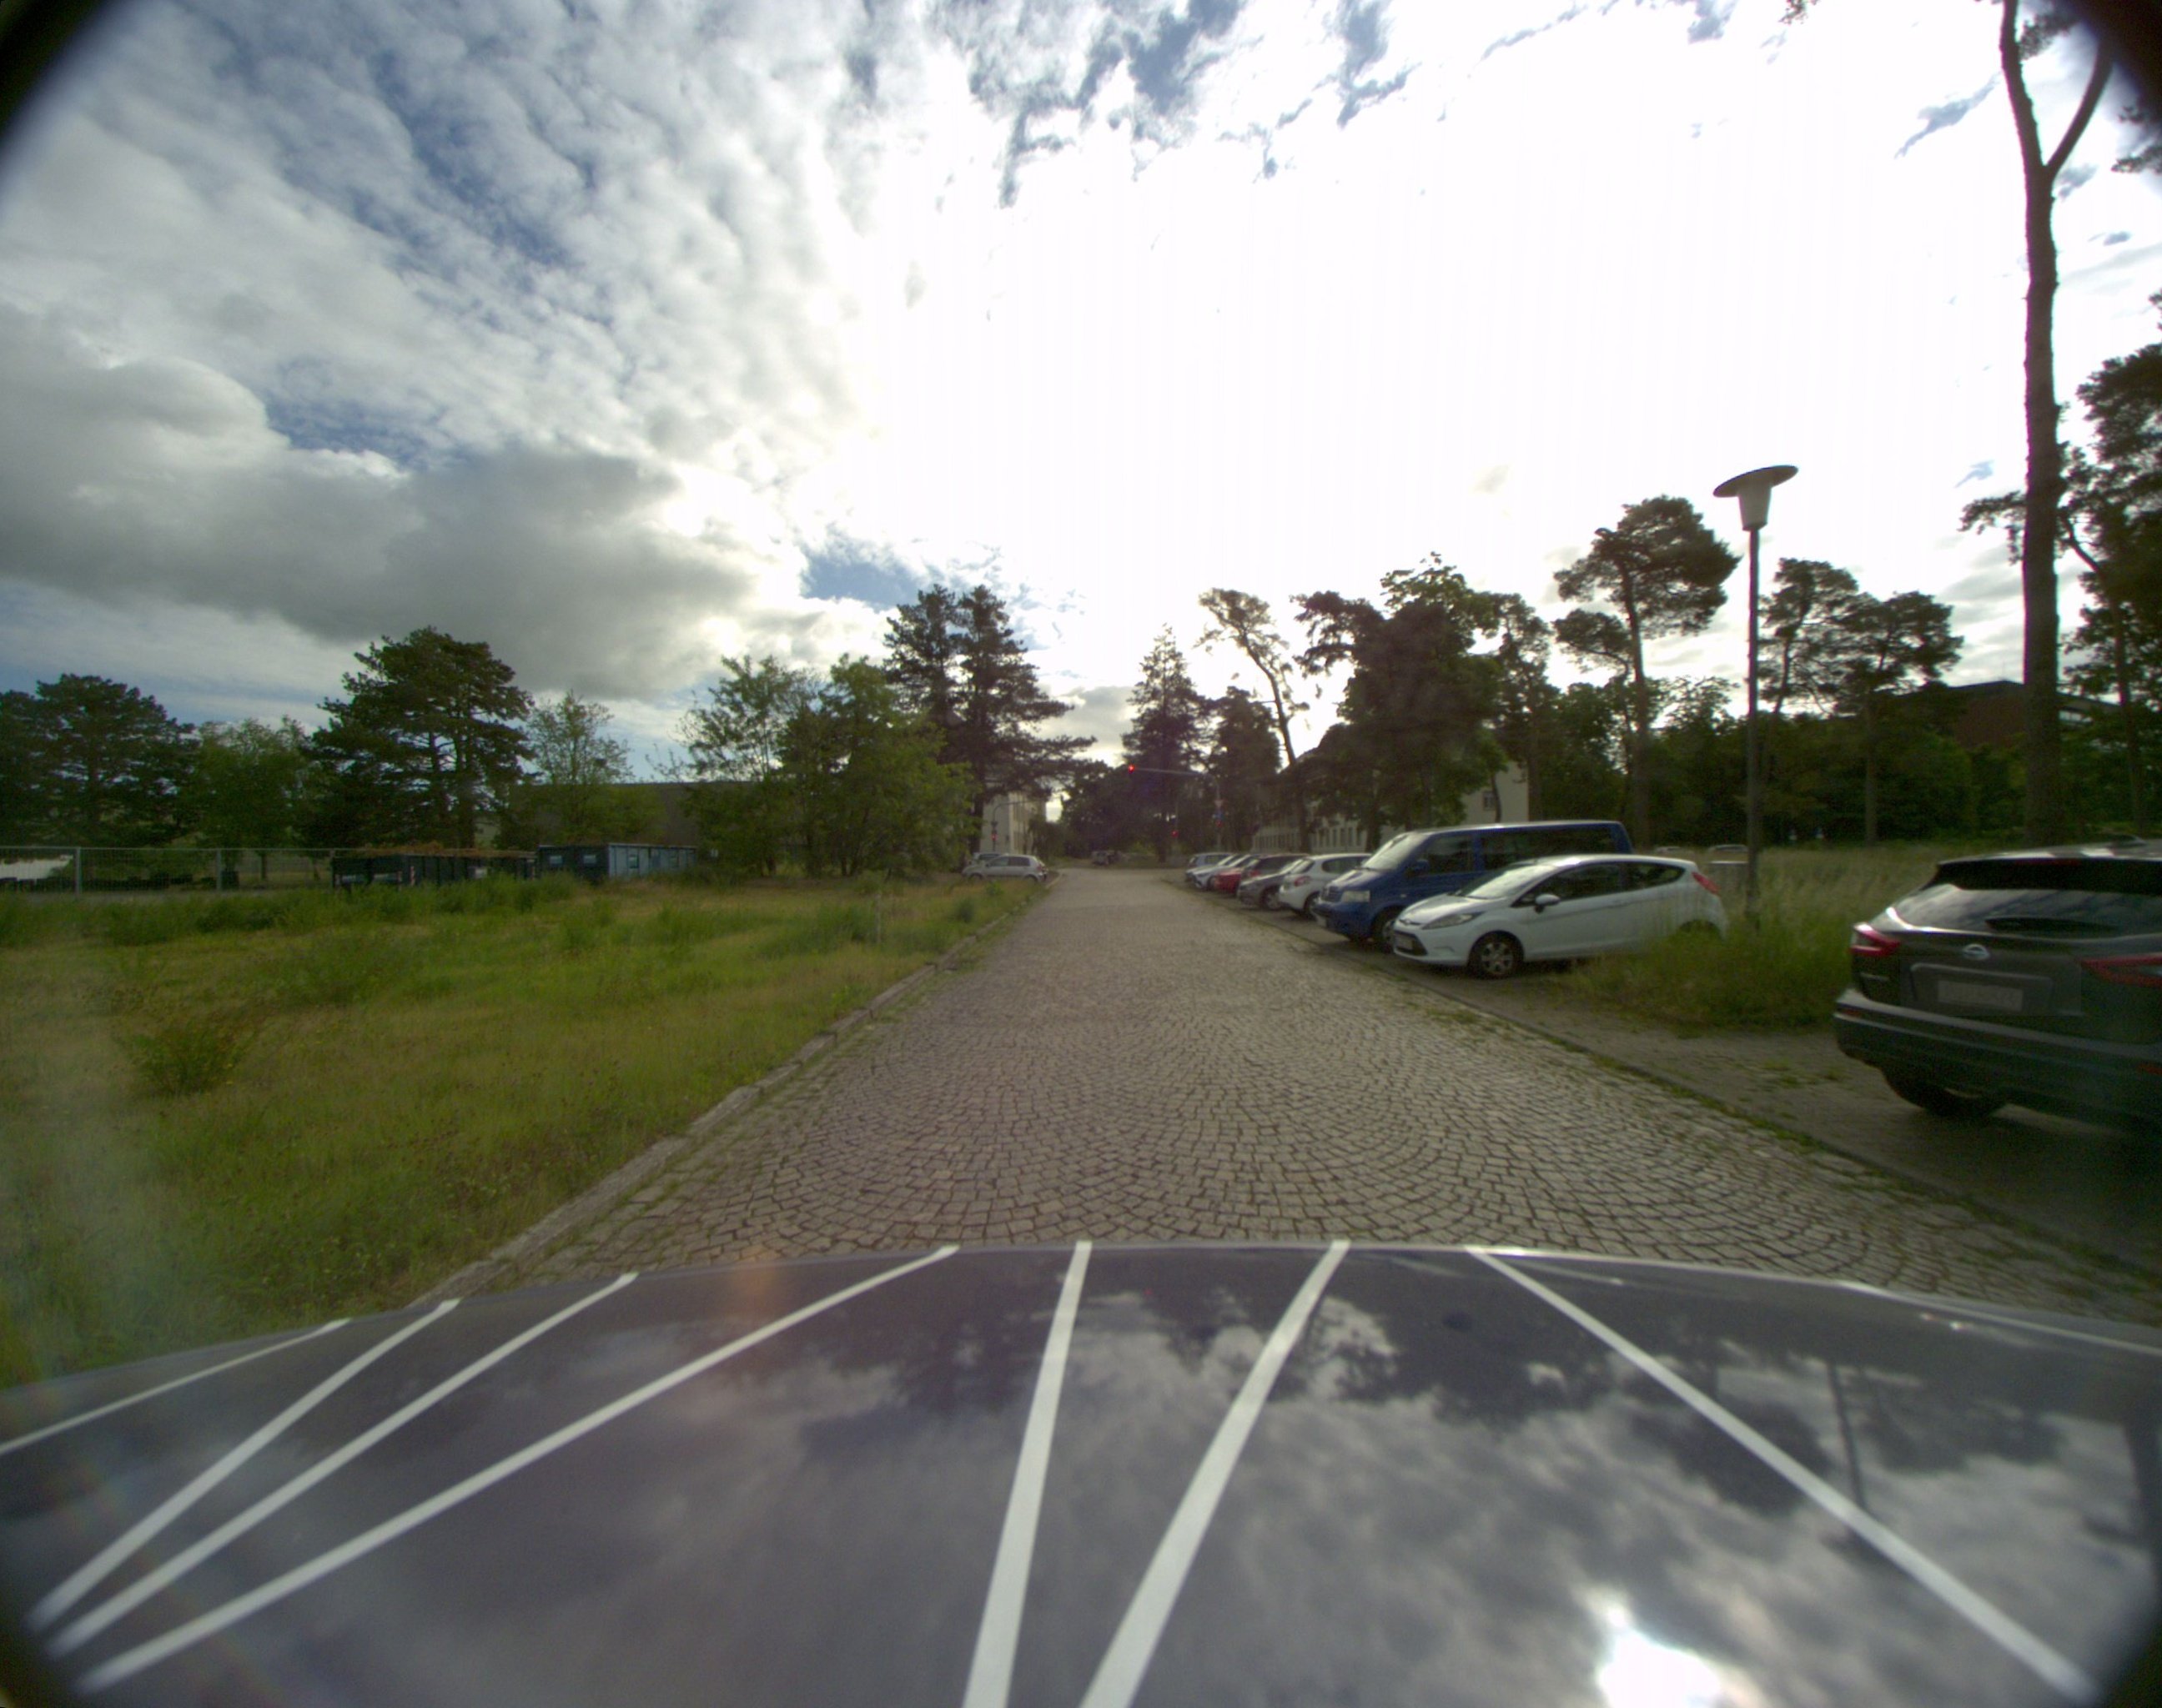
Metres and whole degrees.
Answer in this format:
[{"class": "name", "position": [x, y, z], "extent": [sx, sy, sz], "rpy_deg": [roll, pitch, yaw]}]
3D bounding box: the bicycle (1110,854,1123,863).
[{"class": "bicycle", "position": [4.285, 0.523, 91.789], "extent": [1.456, 1.033, 0.497], "rpy_deg": [-4, 1, -4]}]

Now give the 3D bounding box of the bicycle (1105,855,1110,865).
[{"class": "bicycle", "position": [2.922, 0.614, 83.706], "extent": [0.497, 1.033, 1.416], "rpy_deg": [-4, 1, 0]}]

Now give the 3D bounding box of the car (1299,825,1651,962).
[{"class": "car", "position": [6.247, 0.598, 12.515], "extent": [4.721, 1.969, 2.038], "rpy_deg": [-1, 0, 0]}]

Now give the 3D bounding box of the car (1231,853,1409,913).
[{"class": "car", "position": [6.398, 0.752, 20.682], "extent": [4.314, 1.472, 1.731], "rpy_deg": [-1, 0, 3]}]

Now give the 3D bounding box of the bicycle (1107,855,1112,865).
[{"class": "bicycle", "position": [3.082, 0.624, 82.099], "extent": [0.497, 1.068, 1.416], "rpy_deg": [-4, 1, 0]}]

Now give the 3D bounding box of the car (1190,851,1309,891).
[{"class": "car", "position": [6.779, 0.676, 30.932], "extent": [4.447, 1.447, 1.949], "rpy_deg": [-1, 1, 2]}]

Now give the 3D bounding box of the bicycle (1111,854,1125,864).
[{"class": "bicycle", "position": [4.134, 0.550, 85.078], "extent": [1.457, 1.033, 0.497], "rpy_deg": [-4, 1, -6]}]

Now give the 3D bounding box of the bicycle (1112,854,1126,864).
[{"class": "bicycle", "position": [4.356, 0.554, 86.905], "extent": [1.456, 1.033, 0.497], "rpy_deg": [-4, 1, -4]}]

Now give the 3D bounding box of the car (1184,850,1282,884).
[{"class": "car", "position": [7.194, 0.622, 36.237], "extent": [4.339, 1.462, 1.827], "rpy_deg": [-1, 1, 2]}]

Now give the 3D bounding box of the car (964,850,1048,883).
[{"class": "car", "position": [-4.003, 0.659, 40.981], "extent": [4.342, 1.565, 1.826], "rpy_deg": [2, 1, -4]}]

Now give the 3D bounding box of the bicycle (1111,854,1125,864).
[{"class": "bicycle", "position": [4.210, 0.558, 85.872], "extent": [1.456, 1.033, 0.497], "rpy_deg": [-4, 1, -4]}]

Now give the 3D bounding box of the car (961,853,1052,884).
[{"class": "car", "position": [-3.686, 0.729, 38.289], "extent": [4.377, 1.397, 1.796], "rpy_deg": [2, 0, 0]}]

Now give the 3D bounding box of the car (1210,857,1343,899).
[{"class": "car", "position": [6.670, 0.804, 26.244], "extent": [4.141, 1.276, 1.764], "rpy_deg": [-1, 0, 1]}]

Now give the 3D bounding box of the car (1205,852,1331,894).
[{"class": "car", "position": [6.971, 0.690, 28.619], "extent": [4.264, 1.447, 1.855], "rpy_deg": [-1, 0, 1]}]

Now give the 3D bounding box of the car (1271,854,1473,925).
[{"class": "car", "position": [6.687, 0.793, 17.811], "extent": [4.014, 1.493, 1.843], "rpy_deg": [-1, 0, 3]}]

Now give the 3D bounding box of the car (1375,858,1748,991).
[{"class": "car", "position": [6.094, 0.848, 9.957], "extent": [3.803, 1.484, 1.726], "rpy_deg": [-1, 0, -1]}]

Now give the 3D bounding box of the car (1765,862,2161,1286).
[{"class": "car", "position": [6.203, 0.841, 3.646], "extent": [4.078, 1.566, 1.954], "rpy_deg": [-1, 0, 0]}]

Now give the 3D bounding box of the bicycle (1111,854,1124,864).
[{"class": "bicycle", "position": [4.255, 0.548, 88.651], "extent": [1.456, 1.033, 0.497], "rpy_deg": [-4, 1, -4]}]

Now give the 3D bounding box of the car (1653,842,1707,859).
[{"class": "car", "position": [60.943, -0.407, 77.390], "extent": [4.053, 1.601, 1.717], "rpy_deg": [-1, 2, 5]}]

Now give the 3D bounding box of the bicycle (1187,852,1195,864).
[{"class": "bicycle", "position": [10.495, 0.345, 72.654], "extent": [0.497, 1.068, 1.416], "rpy_deg": [-4, 1, -2]}]

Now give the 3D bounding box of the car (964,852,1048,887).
[{"class": "car", "position": [-3.468, 0.735, 35.582], "extent": [3.782, 1.471, 1.743], "rpy_deg": [2, 0, -2]}]

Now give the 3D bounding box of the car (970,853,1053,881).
[{"class": "car", "position": [-3.942, 0.717, 43.559], "extent": [4.562, 1.417, 1.826], "rpy_deg": [2, 1, -2]}]

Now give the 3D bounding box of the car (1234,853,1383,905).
[{"class": "car", "position": [6.967, 0.744, 23.555], "extent": [4.097, 1.472, 1.755], "rpy_deg": [-1, 0, 2]}]

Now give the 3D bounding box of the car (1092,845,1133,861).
[{"class": "car", "position": [4.300, -0.106, 103.180], "extent": [5.172, 1.905, 2.034], "rpy_deg": [-3, 0, -12]}]

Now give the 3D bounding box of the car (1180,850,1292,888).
[{"class": "car", "position": [6.795, 0.643, 33.618], "extent": [4.513, 1.528, 1.870], "rpy_deg": [-1, 1, -2]}]
